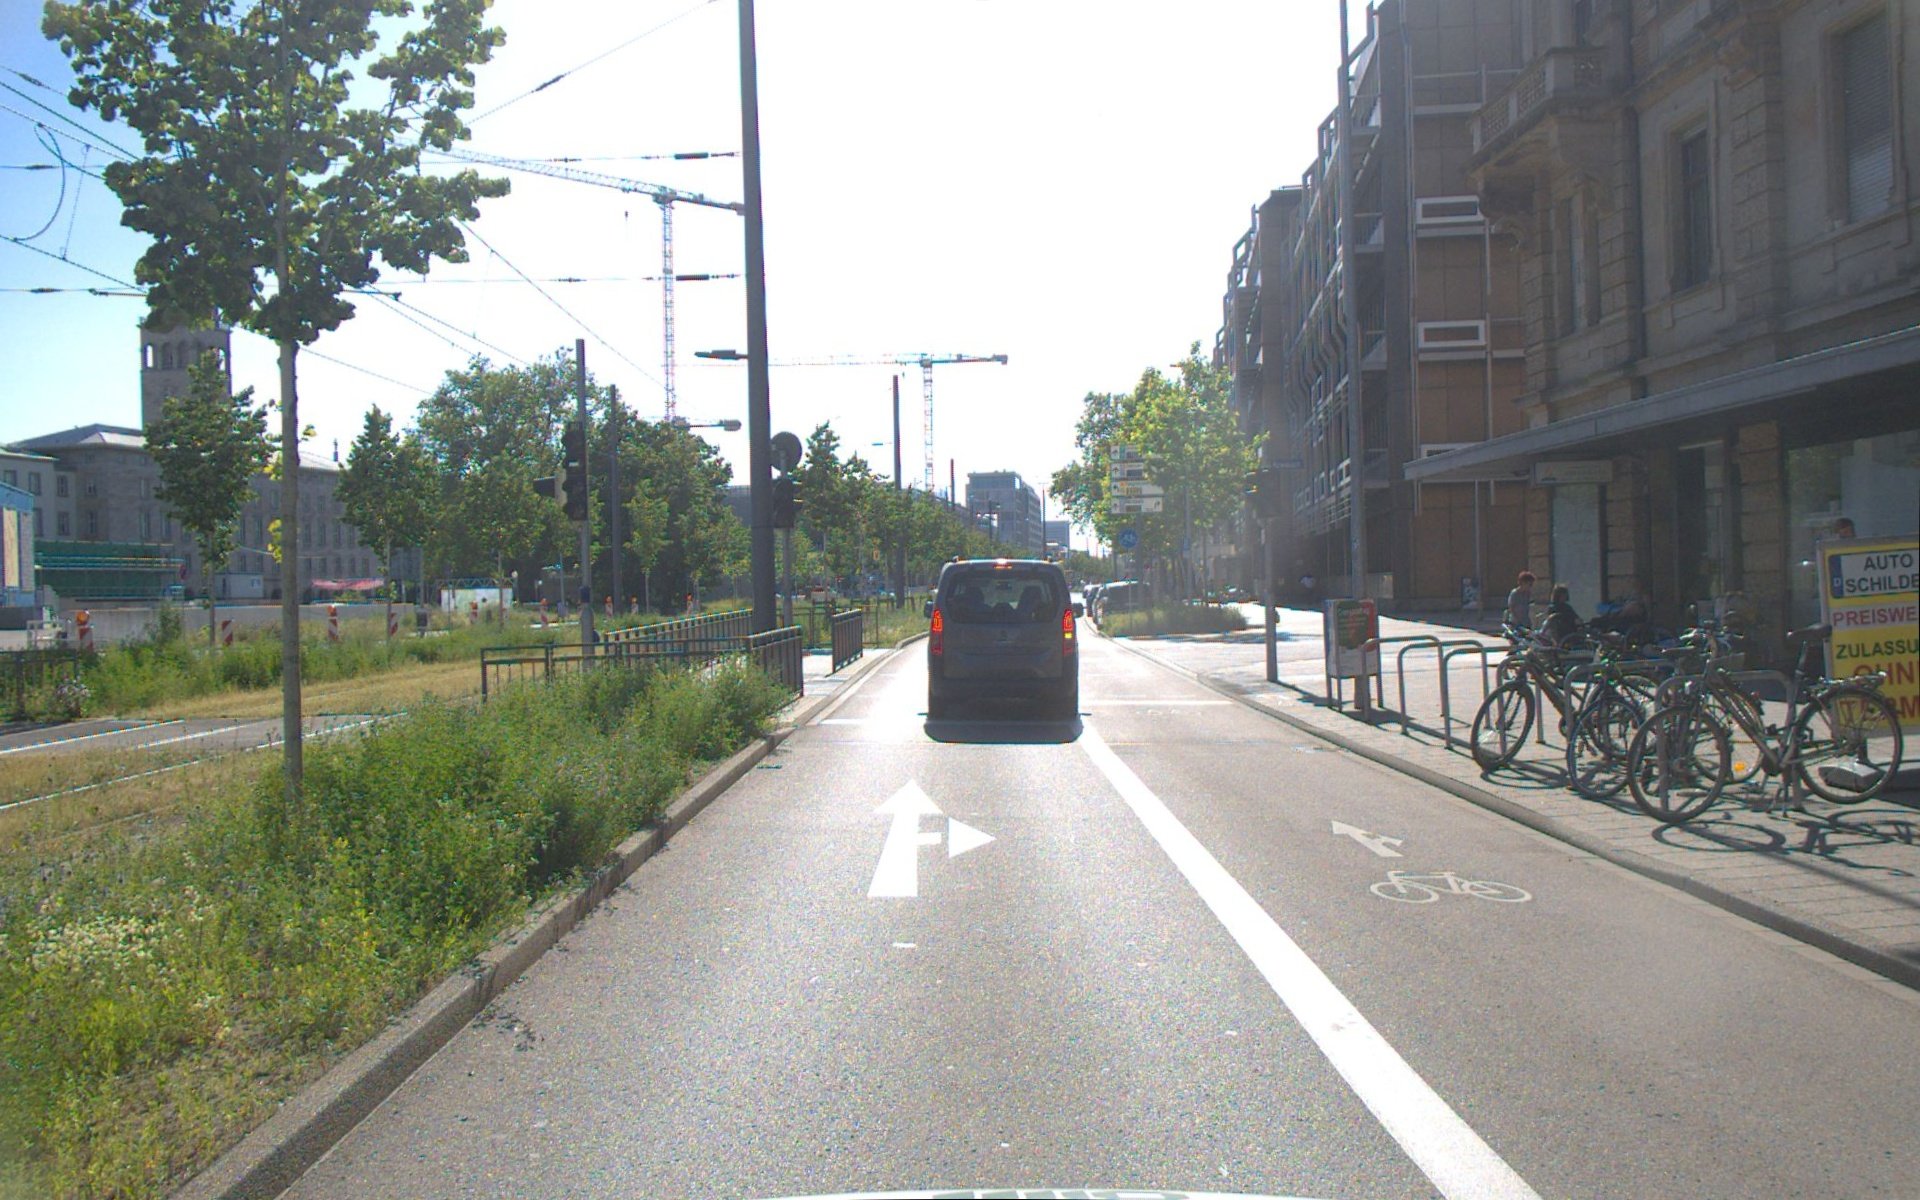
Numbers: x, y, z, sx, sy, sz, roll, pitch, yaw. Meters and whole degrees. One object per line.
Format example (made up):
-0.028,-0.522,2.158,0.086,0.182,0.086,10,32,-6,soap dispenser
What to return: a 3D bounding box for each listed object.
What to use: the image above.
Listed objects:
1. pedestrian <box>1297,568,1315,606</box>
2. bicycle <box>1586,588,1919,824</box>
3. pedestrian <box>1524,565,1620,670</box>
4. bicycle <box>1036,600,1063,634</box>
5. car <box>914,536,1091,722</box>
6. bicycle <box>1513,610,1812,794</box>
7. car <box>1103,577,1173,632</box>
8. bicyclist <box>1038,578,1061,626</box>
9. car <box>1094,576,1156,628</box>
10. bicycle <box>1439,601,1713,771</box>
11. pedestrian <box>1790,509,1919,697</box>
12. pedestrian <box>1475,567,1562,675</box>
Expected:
15.490,-0.601,73.973,0.685,1.681,0.724,-1,0,6,pedestrian
4.840,0.619,10.068,1.844,1.255,0.499,-4,0,-8,bicycle
8.289,0.228,22.433,0.816,1.309,1.007,-5,0,-1,pedestrian
3.059,0.559,56.596,0.687,1.110,2.276,-1,0,-3,bicycle
0.463,0.287,20.316,1.953,2.049,4.000,0,1,0,car
4.912,0.692,11.606,1.791,1.097,0.663,-5,0,-8,bicycle
5.597,0.150,52.298,1.947,1.666,4.191,-1,0,3,car
3.062,0.076,56.551,0.669,1.612,0.839,-1,0,-3,bicyclist
5.801,0.072,58.626,1.979,1.752,4.120,-1,0,3,car
4.870,0.658,13.122,1.880,1.140,0.663,-5,0,-8,bicycle
8.866,0.033,16.320,0.827,1.772,0.886,-2,-1,-2,pedestrian
7.501,0.279,22.248,0.689,1.359,1.011,-5,0,-1,pedestrian
